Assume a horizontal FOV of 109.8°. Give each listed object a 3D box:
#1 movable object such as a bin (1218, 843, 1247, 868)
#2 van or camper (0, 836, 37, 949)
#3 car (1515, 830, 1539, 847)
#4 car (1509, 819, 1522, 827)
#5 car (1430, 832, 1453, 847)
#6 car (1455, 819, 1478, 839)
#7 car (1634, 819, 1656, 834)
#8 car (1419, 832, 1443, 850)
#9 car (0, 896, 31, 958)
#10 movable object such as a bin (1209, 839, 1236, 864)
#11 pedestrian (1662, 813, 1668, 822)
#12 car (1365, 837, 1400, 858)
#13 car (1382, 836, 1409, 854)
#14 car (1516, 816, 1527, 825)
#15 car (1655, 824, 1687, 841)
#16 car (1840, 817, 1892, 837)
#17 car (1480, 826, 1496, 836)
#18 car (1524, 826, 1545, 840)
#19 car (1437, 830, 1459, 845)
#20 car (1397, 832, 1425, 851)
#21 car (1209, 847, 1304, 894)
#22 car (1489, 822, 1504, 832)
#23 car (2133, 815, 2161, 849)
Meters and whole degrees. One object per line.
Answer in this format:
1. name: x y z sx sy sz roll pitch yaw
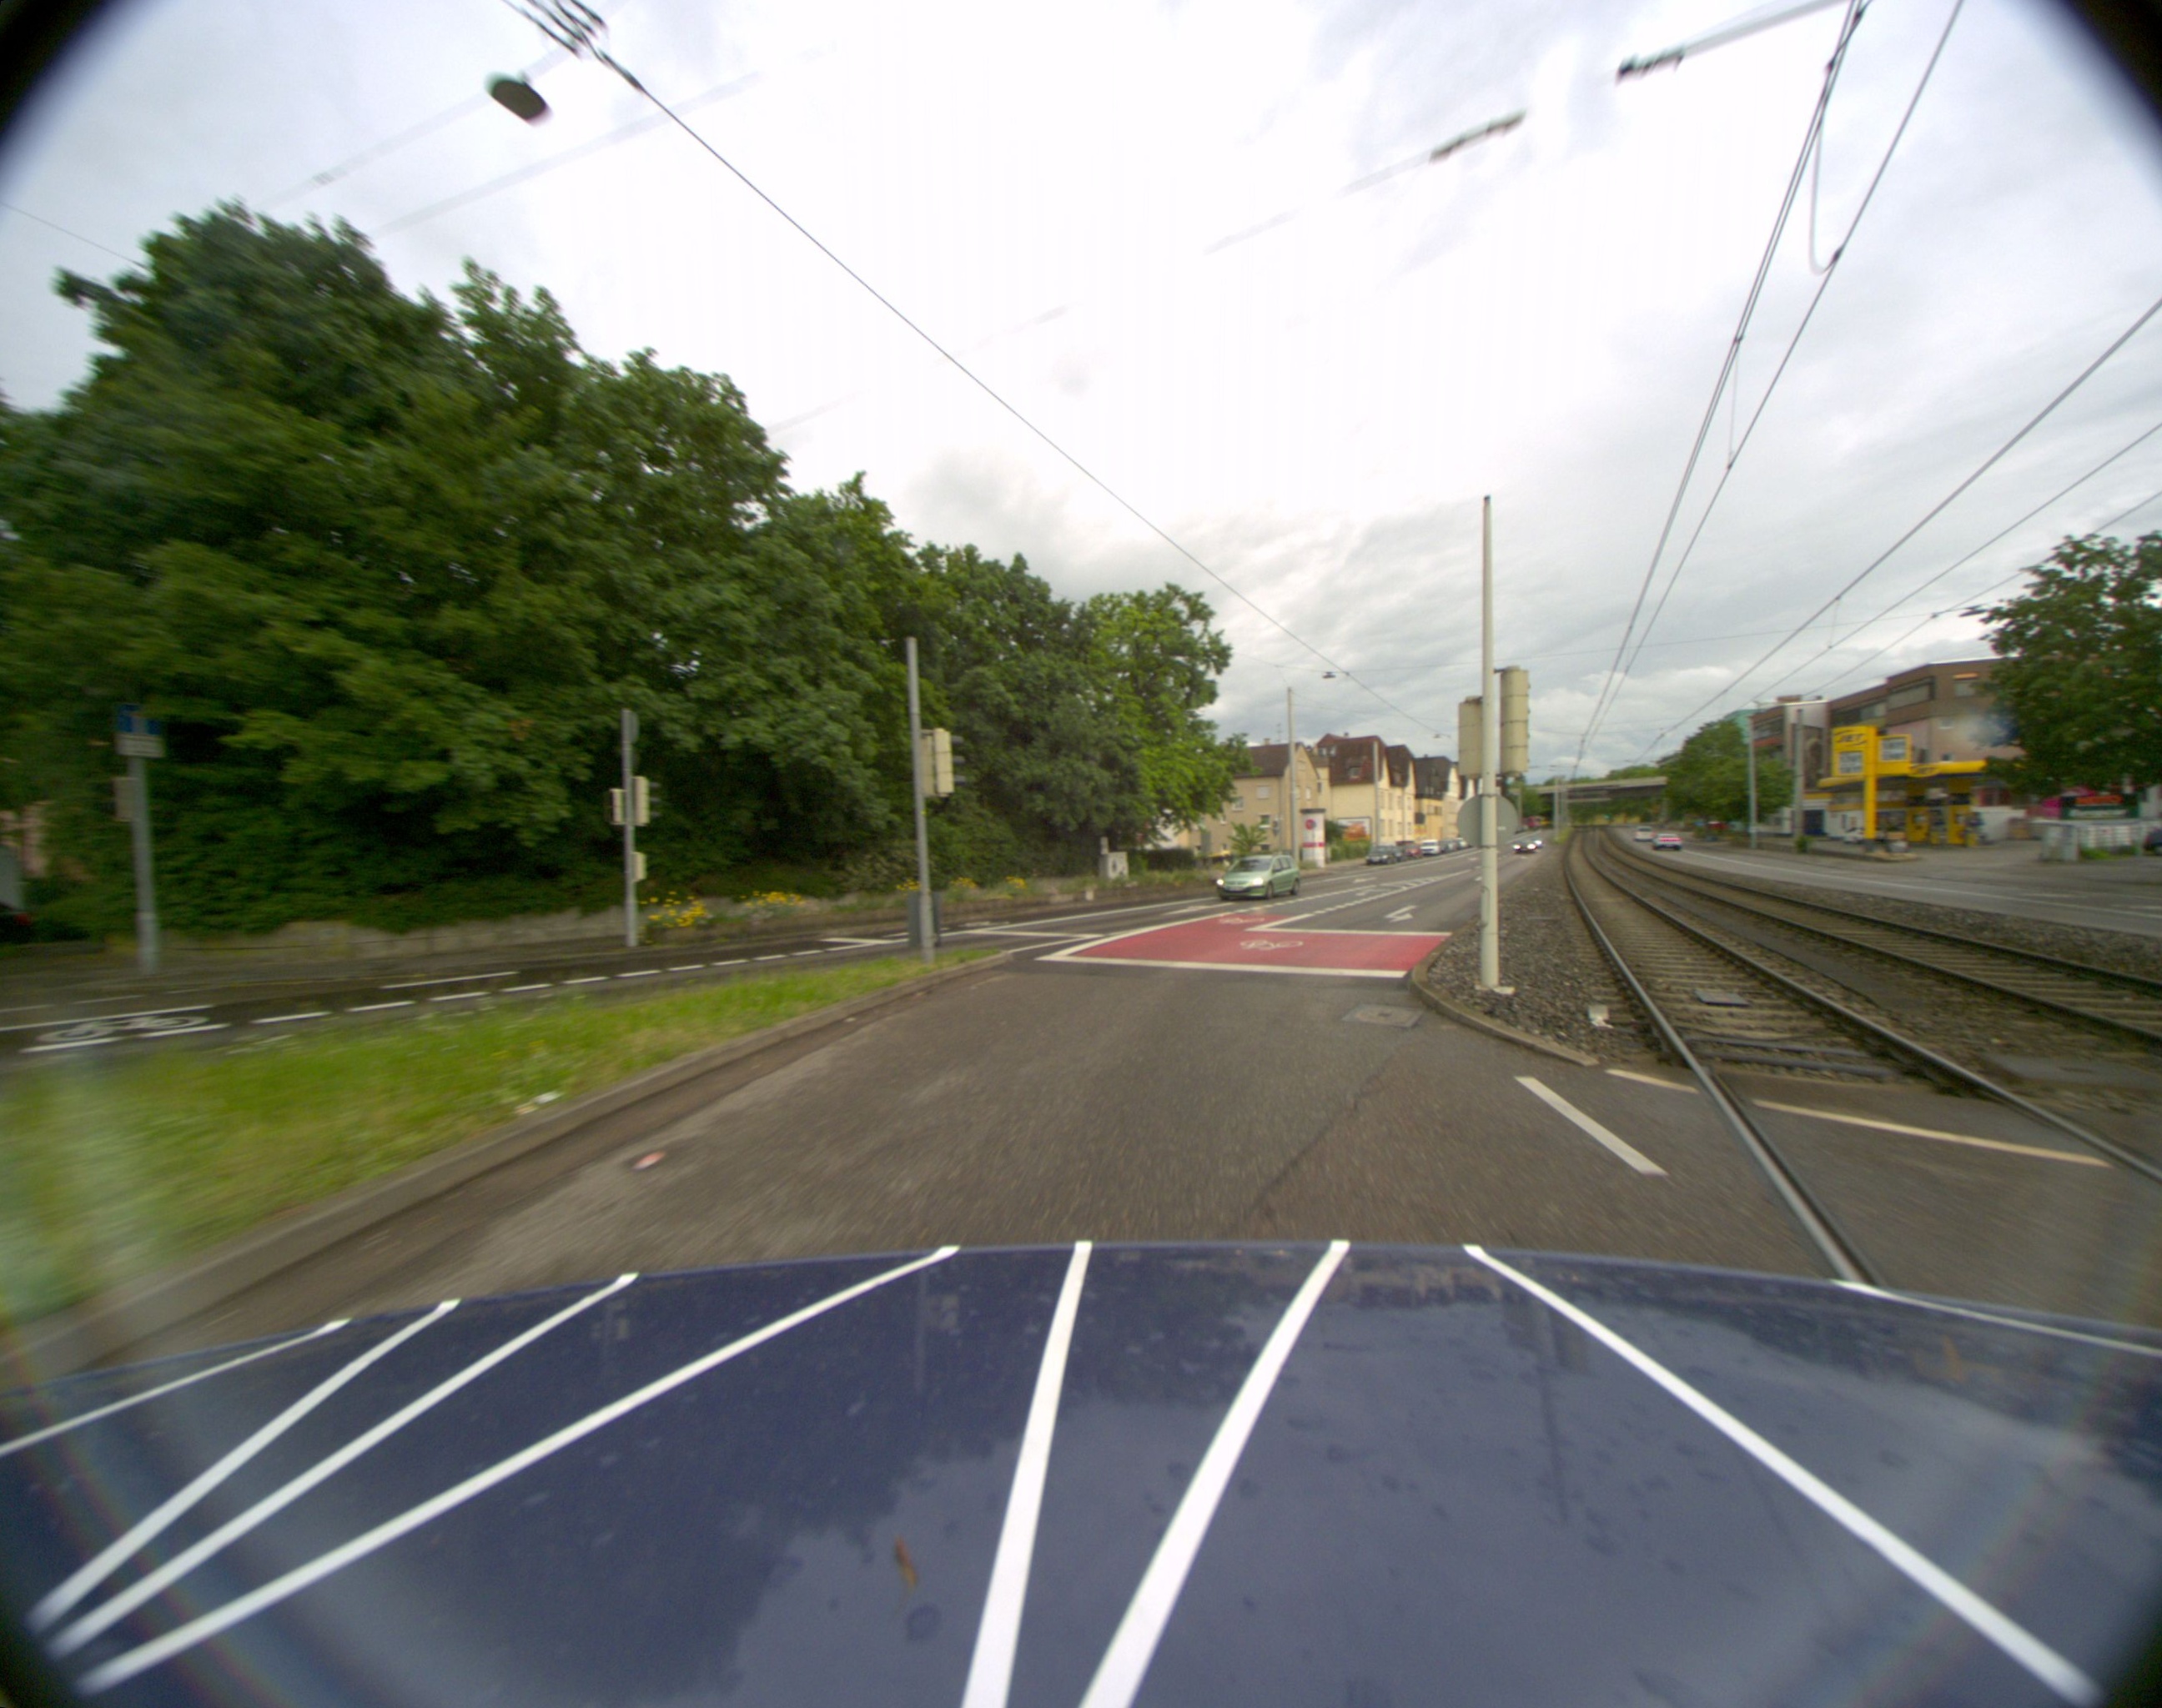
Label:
1. movable object such as a bin: 9.341 0.069 46.929 1.312 1.410 1.302 -3 2 31
2. van or camper: -28.535 0.992 16.593 2.424 2.739 6.443 -1 1 29
3. car: 44.893 -1.596 76.401 1.884 1.417 4.207 -3 2 33
4. car: 88.457 -6.349 154.671 1.723 1.539 4.207 -2 2 36
5. car: 41.705 -1.722 87.869 1.687 1.503 4.144 -2 1 35
6. car: 53.837 -3.465 106.053 2.041 2.485 5.930 -2 2 34
7. car: 76.712 -3.713 103.359 1.994 2.003 5.069 2 3 32
8. car: 38.589 -1.480 83.650 1.848 1.746 4.529 -3 1 32
9. car: -25.576 1.693 16.197 1.674 1.346 3.478 -1 1 27
10. movable object such as a bin: 8.489 -0.133 45.547 1.185 1.410 1.136 -3 2 31
11. pedestrian: 107.695 -6.657 140.080 0.745 1.636 1.023 0 3 34
12. car: 25.414 -0.567 63.954 1.838 1.524 4.447 -3 1 33
13. car: 28.768 -0.808 69.479 1.668 1.435 3.935 -3 1 32
14. car: 94.483 -7.181 162.954 1.723 1.539 4.207 -2 2 36
15. car: 57.972 -2.152 74.726 1.994 1.640 4.768 1 2 32
16. car: 61.719 -2.122 59.832 1.772 1.408 4.082 -3 2 30
17. car: 62.395 -3.527 116.459 1.723 1.338 4.207 -3 2 33
18. car: 53.486 -2.441 89.555 1.884 1.417 4.207 -3 2 33
19. car: 45.016 -2.042 93.143 1.702 1.557 4.289 -2 2 35
20. car: 32.833 -1.249 75.554 1.838 1.619 4.106 -3 1 33
21. car: 6.210 0.530 26.536 1.884 1.440 4.208 -1 1 33
22. car: 72.042 -4.652 131.834 1.723 1.539 4.207 -2 2 36
23. car: 54.319 -1.101 36.815 1.704 1.580 3.594 -4 2 -20
